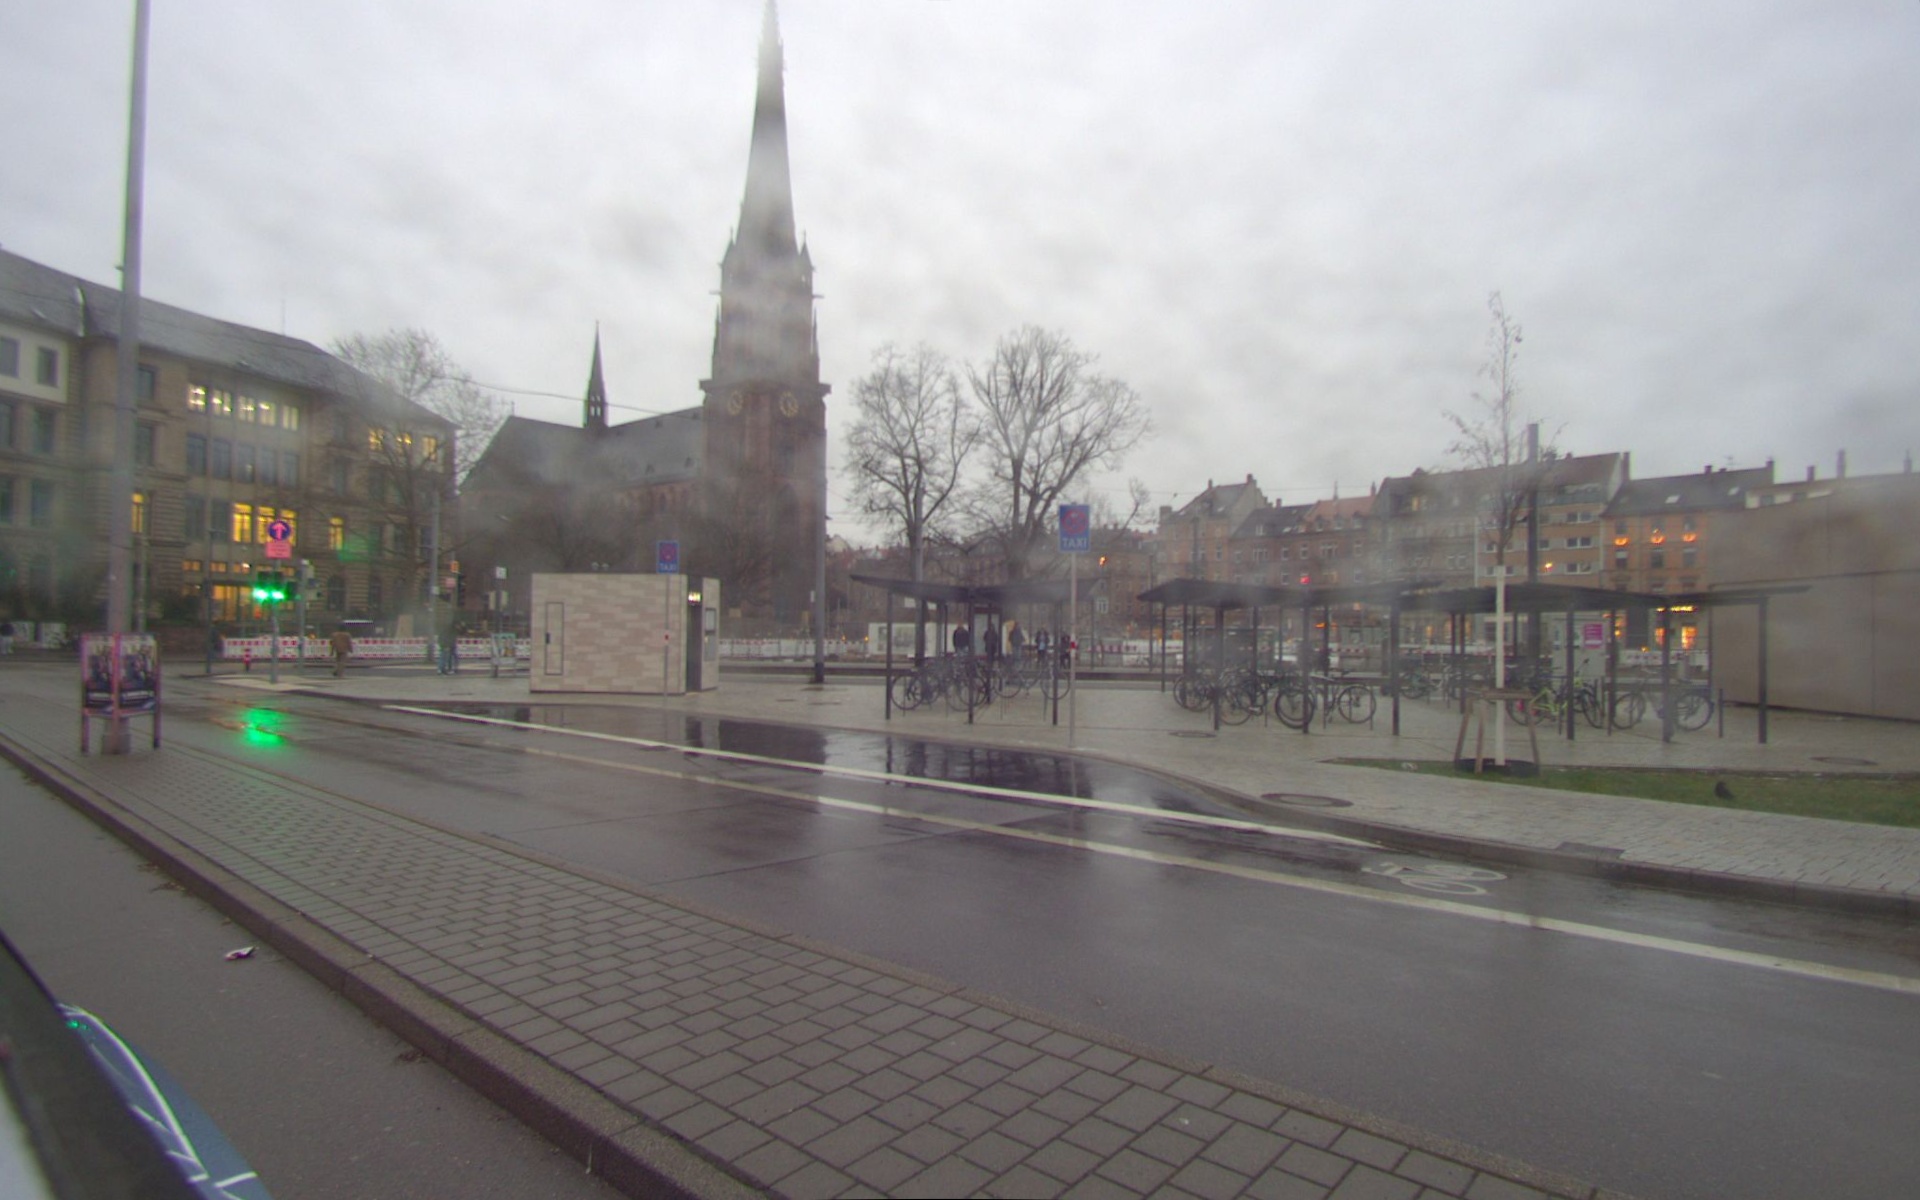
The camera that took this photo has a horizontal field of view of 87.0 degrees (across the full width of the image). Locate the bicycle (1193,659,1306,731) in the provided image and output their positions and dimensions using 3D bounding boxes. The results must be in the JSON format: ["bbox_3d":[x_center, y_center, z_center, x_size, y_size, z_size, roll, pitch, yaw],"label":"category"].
[{"bbox_3d":[5.143,1.683,18.050,1.879,1.174,0.548,1,0,12],"label":"bicycle"}]

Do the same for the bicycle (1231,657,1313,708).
[{"bbox_3d":[7.712,2.029,25.061,1.879,1.174,0.548,1,0,12],"label":"bicycle"}]

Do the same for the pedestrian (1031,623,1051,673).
[{"bbox_3d":[3.073,1.795,38.157,0.709,1.820,0.713,1,-1,7],"label":"pedestrian"}]

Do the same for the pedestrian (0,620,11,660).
[{"bbox_3d":[-49.797,2.079,52.670,0.563,2.029,0.587,0,0,-45],"label":"pedestrian"}]

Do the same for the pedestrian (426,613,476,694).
[{"bbox_3d":[-15.534,1.594,30.913,1.062,2.388,0.984,1,0,37],"label":"pedestrian"}]

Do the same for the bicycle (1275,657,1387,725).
[{"bbox_3d":[6.914,1.690,18.937,1.879,1.174,0.548,1,0,12],"label":"bicycle"}]

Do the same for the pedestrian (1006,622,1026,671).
[{"bbox_3d":[2.121,1.759,38.218,0.709,1.820,0.713,1,-1,7],"label":"pedestrian"}]

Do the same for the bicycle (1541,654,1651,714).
[{"bbox_3d":[13.480,1.764,21.494,1.879,1.174,0.548,1,0,12],"label":"bicycle"}]

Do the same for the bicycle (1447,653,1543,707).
[{"bbox_3d":[12.477,1.854,23.628,1.879,1.174,0.548,1,0,12],"label":"bicycle"}]

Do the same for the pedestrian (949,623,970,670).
[{"bbox_3d":[-0.029,1.760,38.548,0.709,1.770,0.713,1,-1,7],"label":"pedestrian"}]

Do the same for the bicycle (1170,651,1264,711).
[{"bbox_3d":[5.430,1.711,21.449,1.879,1.174,0.548,1,0,12],"label":"bicycle"}]

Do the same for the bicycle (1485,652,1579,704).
[{"bbox_3d":[13.821,1.878,24.477,1.879,1.174,0.548,1,0,12],"label":"bicycle"}]

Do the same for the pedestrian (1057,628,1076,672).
[{"bbox_3d":[4.029,1.881,38.233,0.709,1.630,0.713,1,-1,7],"label":"pedestrian"}]

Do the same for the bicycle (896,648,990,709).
[{"bbox_3d":[-0.357,1.635,21.127,1.879,1.174,0.548,1,0,12],"label":"bicycle"}]

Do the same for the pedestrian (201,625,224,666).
[{"bbox_3d":[-38.156,2.317,51.664,0.733,2.029,0.644,1,0,4],"label":"pedestrian"}]

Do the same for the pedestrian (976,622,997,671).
[{"bbox_3d":[1.010,1.774,38.484,0.709,1.820,0.713,1,-1,7],"label":"pedestrian"}]

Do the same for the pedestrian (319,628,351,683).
[{"bbox_3d":[-19.657,1.734,31.842,0.663,1.687,0.732,1,0,-17],"label":"pedestrian"}]

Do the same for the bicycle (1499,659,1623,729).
[{"bbox_3d":[11.112,1.727,18.765,1.879,1.174,0.548,1,0,12],"label":"bicycle"}]

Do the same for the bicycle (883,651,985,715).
[{"bbox_3d":[-0.508,1.620,19.937,1.922,1.174,0.548,1,0,12],"label":"bicycle"}]

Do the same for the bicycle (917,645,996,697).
[{"bbox_3d":[-0.088,1.735,24.954,1.879,1.174,0.548,1,0,12],"label":"bicycle"}]

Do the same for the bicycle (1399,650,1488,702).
[{"bbox_3d":[11.872,1.861,24.891,1.879,1.174,0.548,1,0,12],"label":"bicycle"}]

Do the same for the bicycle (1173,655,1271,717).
[{"bbox_3d":[5.336,1.743,20.689,1.879,1.174,0.548,1,0,12],"label":"bicycle"}]

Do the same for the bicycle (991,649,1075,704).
[{"bbox_3d":[1.688,1.753,23.449,1.879,1.174,0.548,1,0,12],"label":"bicycle"}]

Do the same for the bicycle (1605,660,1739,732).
[{"bbox_3d":[12.655,1.691,18.020,1.877,1.174,0.549,1,0,9],"label":"bicycle"}]

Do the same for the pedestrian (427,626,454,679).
[{"bbox_3d":[-18.330,1.839,35.694,0.595,1.827,0.827,-3,1,-39],"label":"pedestrian"}]
